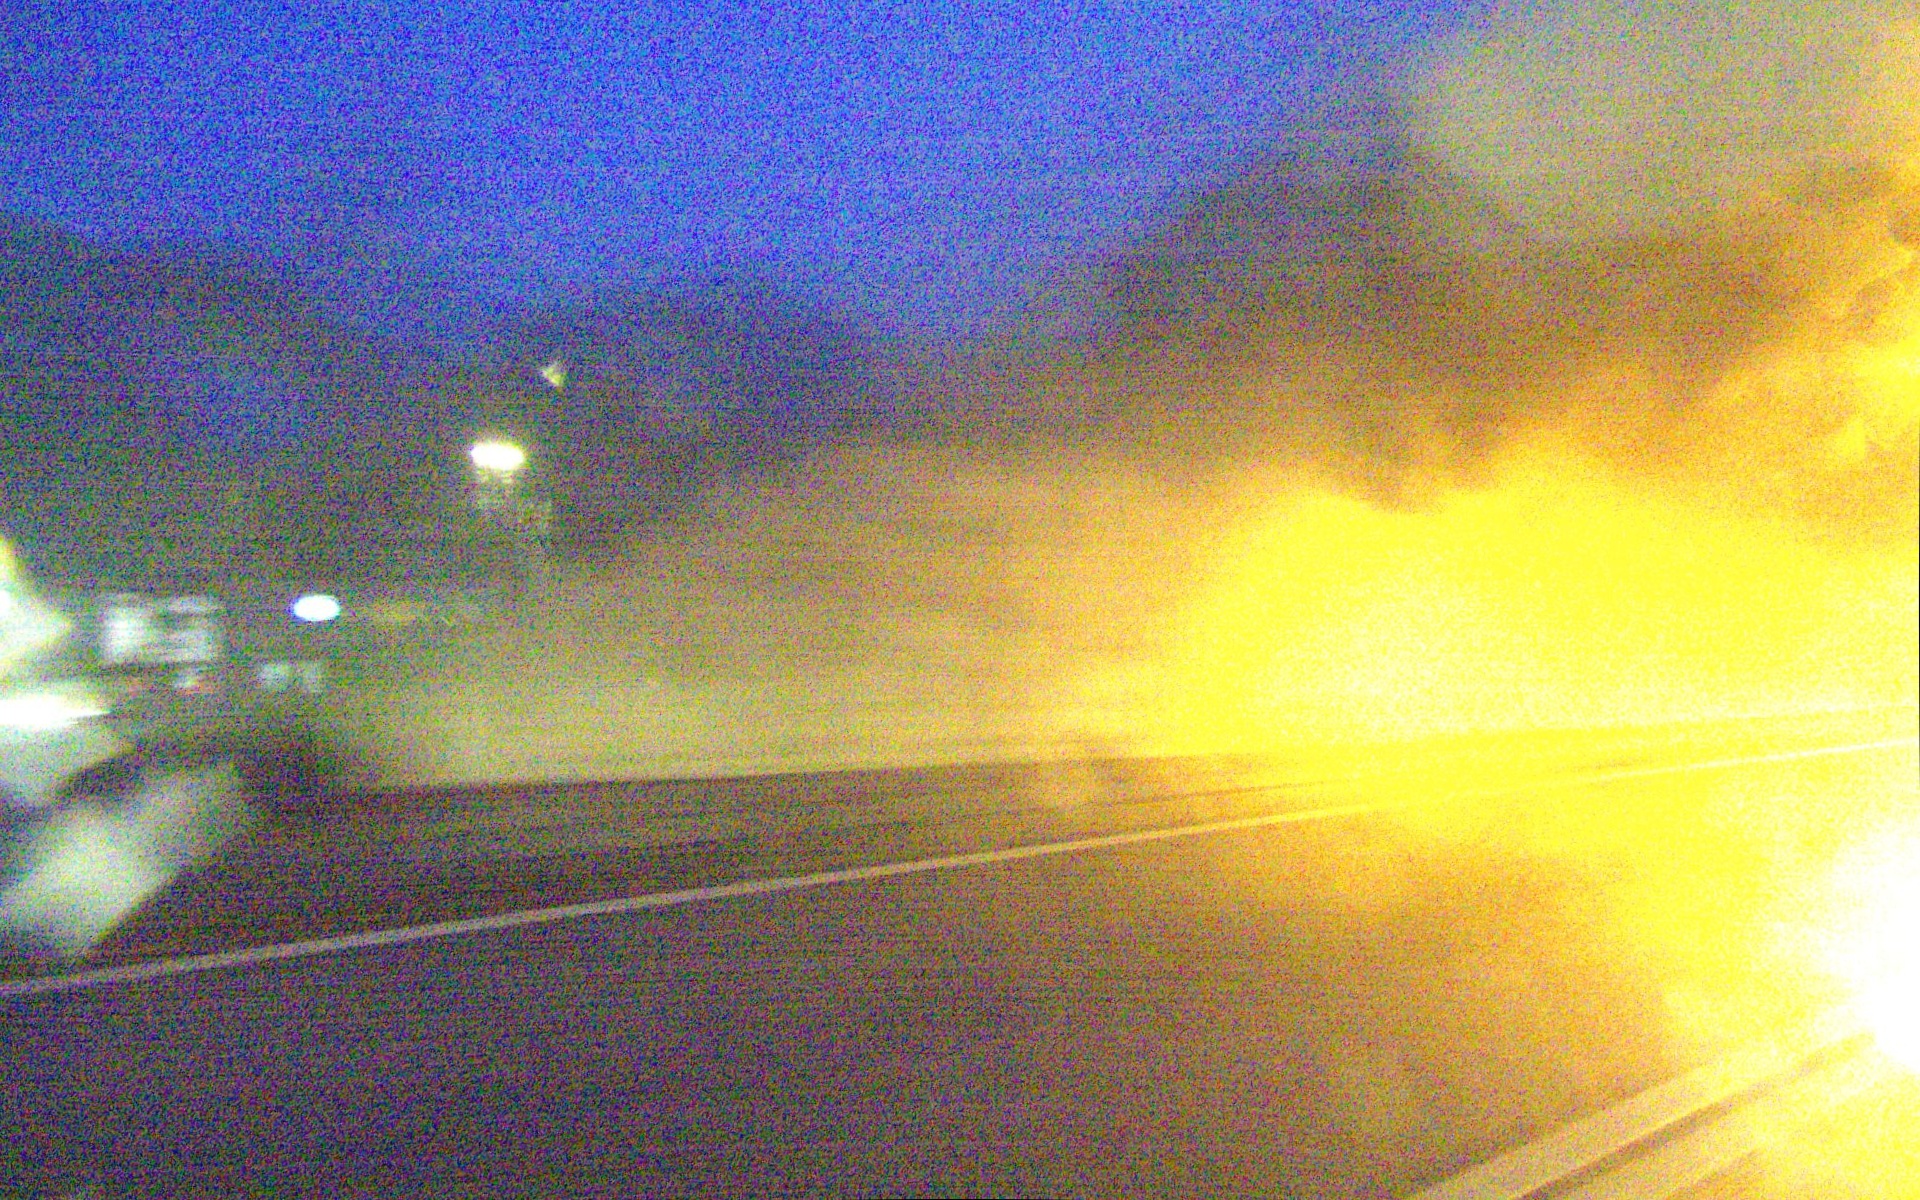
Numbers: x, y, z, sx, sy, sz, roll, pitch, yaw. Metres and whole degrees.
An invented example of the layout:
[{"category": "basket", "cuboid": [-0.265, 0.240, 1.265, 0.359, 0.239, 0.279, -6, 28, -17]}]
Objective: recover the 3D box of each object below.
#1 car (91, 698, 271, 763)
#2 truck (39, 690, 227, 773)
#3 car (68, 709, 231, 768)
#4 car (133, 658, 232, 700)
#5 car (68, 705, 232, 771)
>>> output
[{"category": "car", "cuboid": [-22.301, 3.710, 28.884, 3.967, 1.616, 1.758, 2, -7, -40]}, {"category": "truck", "cuboid": [-27.909, 4.394, 34.102, 4.779, 2.475, 1.758, 2, -7, -40]}, {"category": "car", "cuboid": [-25.908, 4.395, 32.241, 3.967, 1.616, 1.758, 2, -7, -40]}, {"category": "car", "cuboid": [-43.299, 4.388, 56.044, 4.117, 2.159, 1.982, 2, -1, -33]}, {"category": "car", "cuboid": [-24.416, 4.135, 30.406, 3.720, 1.715, 1.758, 2, -7, -40]}]
